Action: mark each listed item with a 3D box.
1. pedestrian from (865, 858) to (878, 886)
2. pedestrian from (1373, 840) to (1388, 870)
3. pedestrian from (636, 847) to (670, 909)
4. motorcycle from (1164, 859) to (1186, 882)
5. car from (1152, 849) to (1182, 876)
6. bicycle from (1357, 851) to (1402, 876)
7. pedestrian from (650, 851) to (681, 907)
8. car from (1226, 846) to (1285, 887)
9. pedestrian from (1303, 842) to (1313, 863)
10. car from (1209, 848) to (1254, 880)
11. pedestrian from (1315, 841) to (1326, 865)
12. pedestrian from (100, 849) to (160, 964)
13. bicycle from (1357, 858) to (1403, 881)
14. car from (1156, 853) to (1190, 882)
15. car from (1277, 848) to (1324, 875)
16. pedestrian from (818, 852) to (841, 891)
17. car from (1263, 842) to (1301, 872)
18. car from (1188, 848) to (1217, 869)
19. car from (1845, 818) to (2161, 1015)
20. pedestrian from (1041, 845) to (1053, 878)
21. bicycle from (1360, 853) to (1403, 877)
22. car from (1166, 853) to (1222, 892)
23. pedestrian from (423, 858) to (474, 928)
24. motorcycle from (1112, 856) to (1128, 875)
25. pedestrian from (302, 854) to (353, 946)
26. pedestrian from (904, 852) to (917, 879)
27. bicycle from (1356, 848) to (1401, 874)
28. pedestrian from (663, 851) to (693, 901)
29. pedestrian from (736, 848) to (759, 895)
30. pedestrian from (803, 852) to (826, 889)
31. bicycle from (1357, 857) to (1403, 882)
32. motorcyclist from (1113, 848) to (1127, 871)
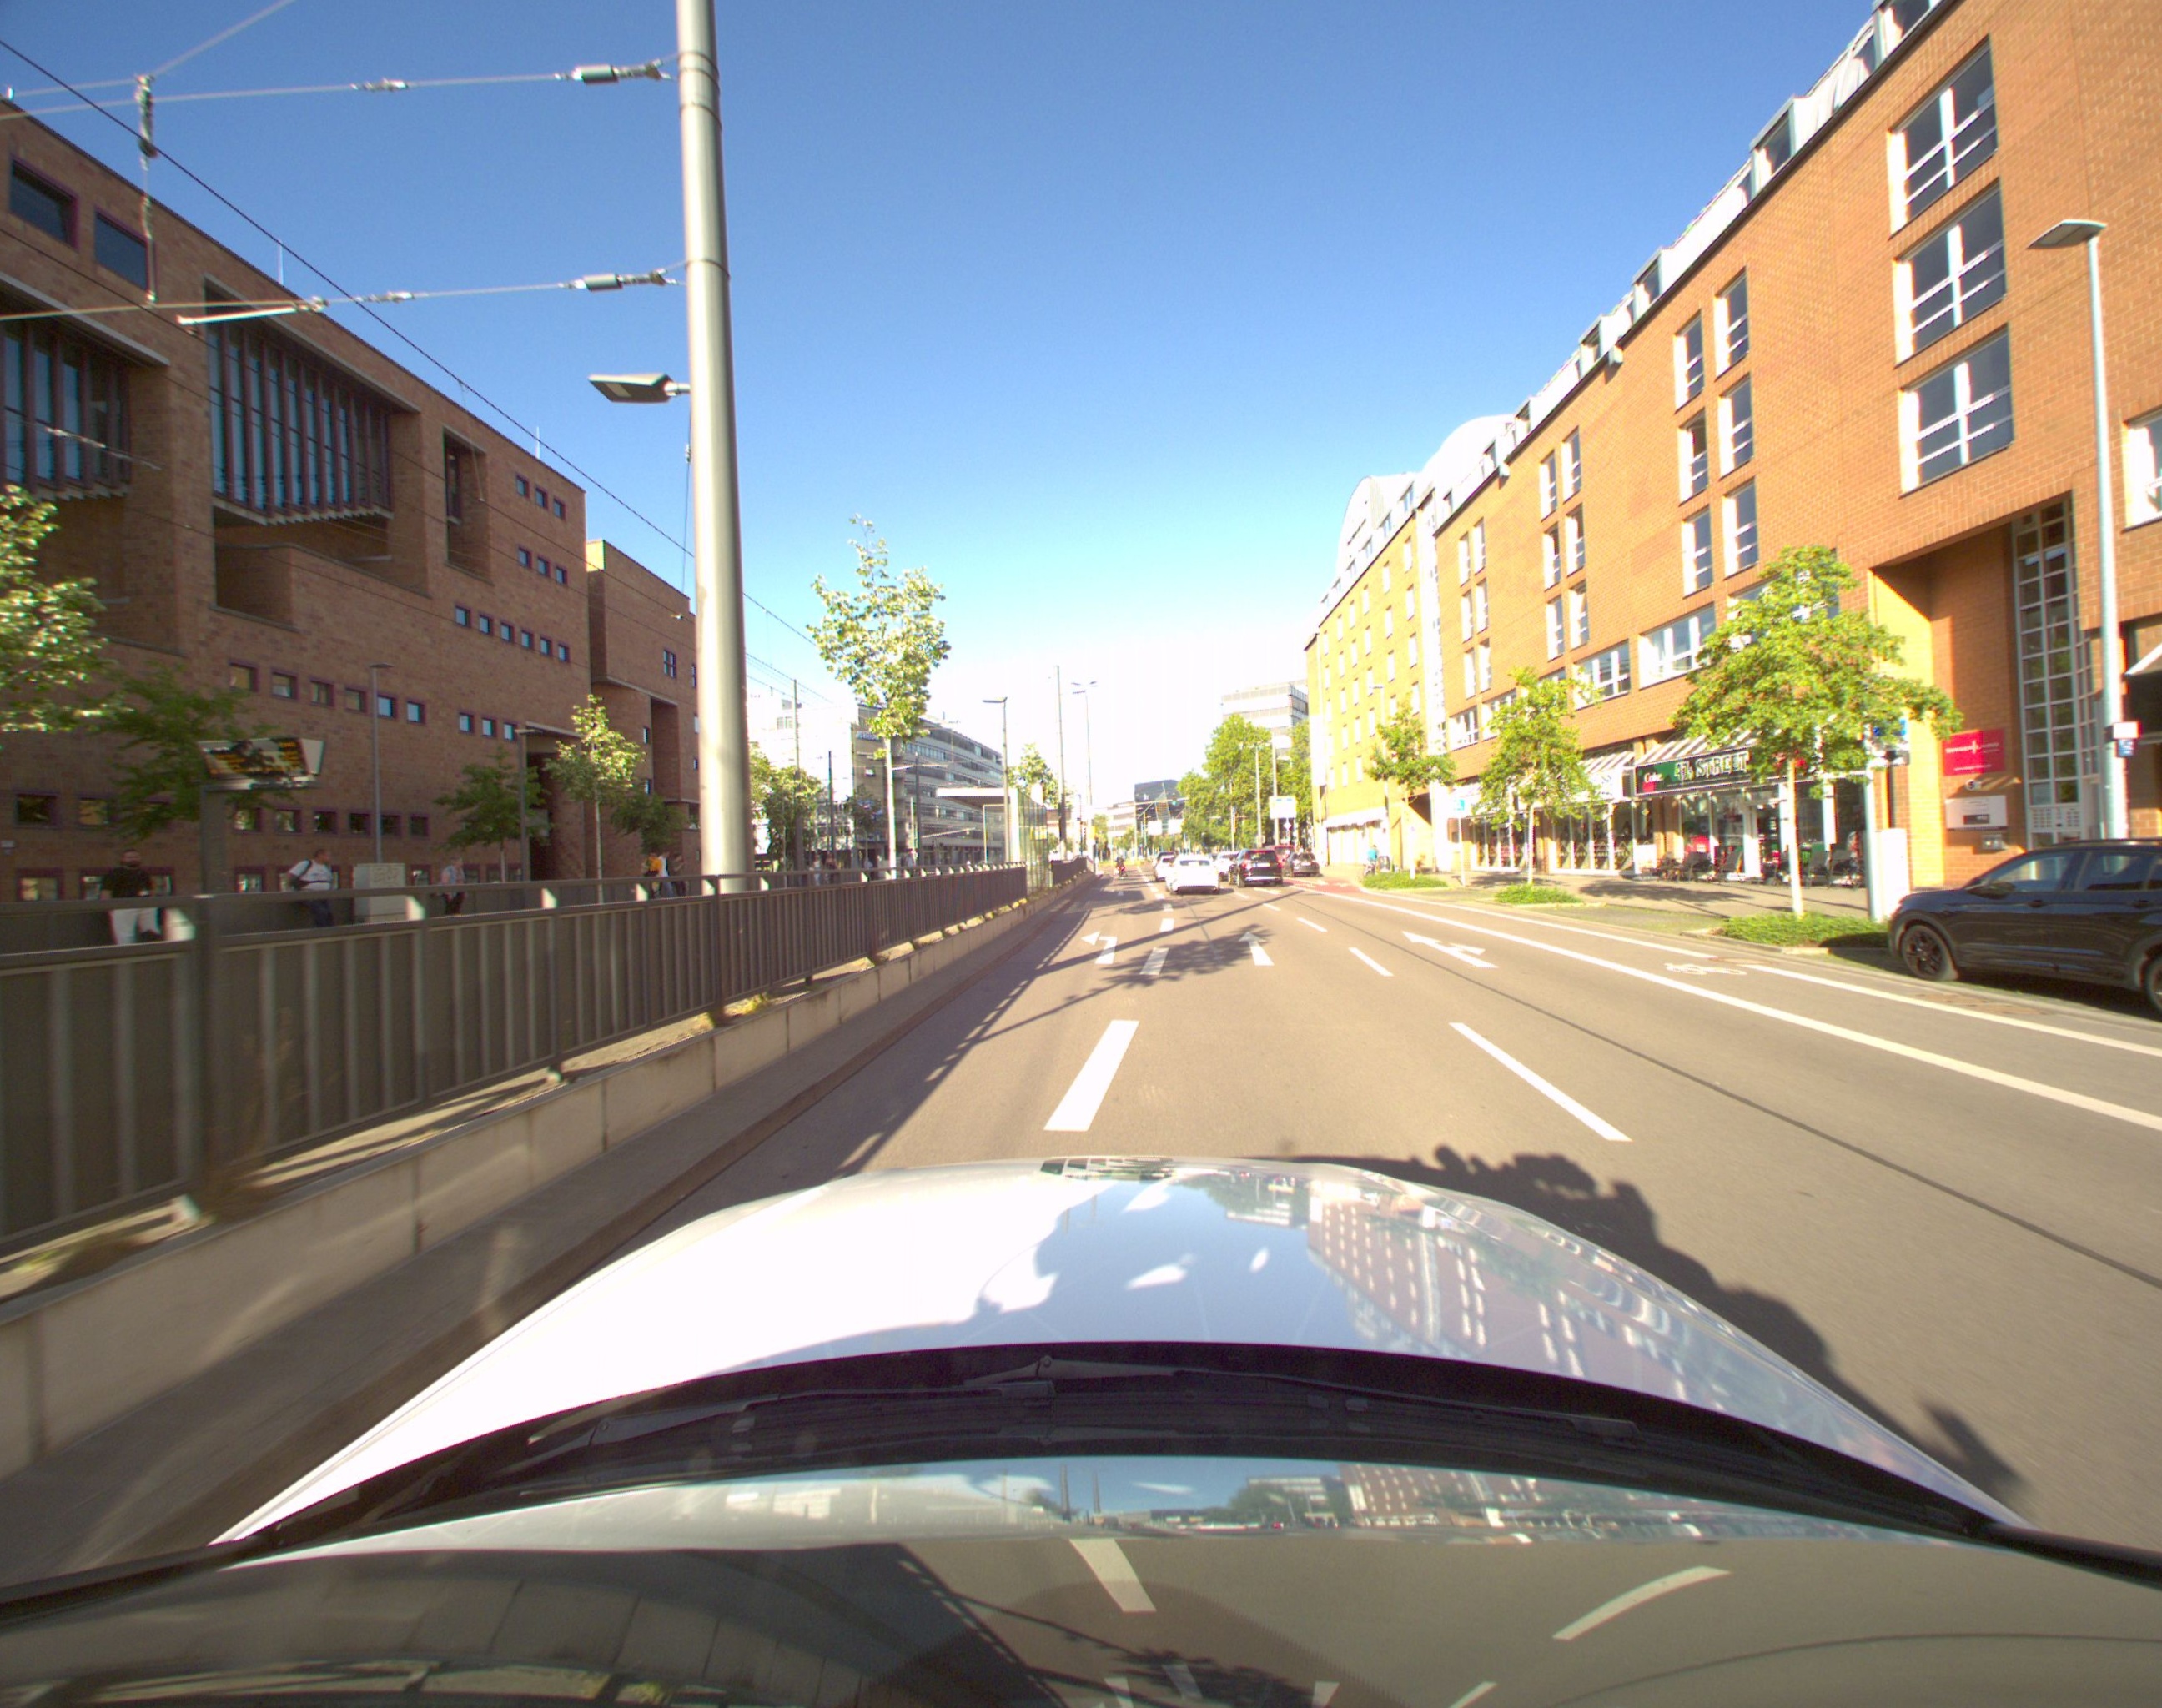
[{"bbox_3d":[-12.379,1.068,48.101,0.561,1.609,0.616,-1,0,3],"label":"pedestrian"},{"bbox_3d":[18.706,0.048,50.833,0.604,1.821,0.749,-2,-1,2],"label":"pedestrian"},{"bbox_3d":[-11.918,0.664,22.685,0.637,1.696,0.541,0,0,3],"label":"pedestrian"},{"bbox_3d":[4.665,0.815,40.637,0.834,1.062,2.554,-2,0,2],"label":"motorcycle"},{"bbox_3d":[5.776,0.544,54.989,1.790,1.705,4.066,-2,0,4],"label":"car"},{"bbox_3d":[14.172,0.444,38.681,1.931,1.075,0.556,-3,-1,14],"label":"bicycle"},{"bbox_3d":[-13.064,0.769,25.613,0.620,1.714,0.616,-1,0,3],"label":"pedestrian"},{"bbox_3d":[7.951,0.528,37.493,1.966,1.759,4.637,0,0,4],"label":"car"},{"bbox_3d":[20.000,-0.090,71.693,0.604,1.821,0.749,-2,-1,2],"label":"pedestrian"},{"bbox_3d":[8.254,0.535,44.987,1.843,1.639,4.382,-2,0,3],"label":"car"},{"bbox_3d":[18.770,-0.070,63.860,0.604,1.821,0.749,-2,-1,2],"label":"pedestrian"},{"bbox_3d":[-13.838,0.750,11.860,0.376,1.648,0.416,0,0,3],"label":"pedestrian"},{"bbox_3d":[13.929,0.740,37.978,1.928,0.969,0.557,-4,-1,20],"label":"bicycle"},{"bbox_3d":[5.129,0.722,46.003,1.685,1.497,4.413,0,0,4],"label":"car"},{"bbox_3d":[13.228,0.416,49.314,1.838,1.560,4.637,0,0,4],"label":"car"},{"bbox_3d":[-10.848,0.736,35.165,0.637,1.643,0.946,0,0,3],"label":"pedestrian"},{"bbox_3d":[13.740,0.193,55.923,1.852,1.961,4.005,-2,0,5],"label":"car"},{"bbox_3d":[9.486,0.323,63.884,1.843,1.497,4.382,-2,0,3],"label":"car"},{"bbox_3d":[10.213,0.499,8.088,1.710,1.636,4.242,-3,0,9],"label":"car"},{"bbox_3d":[-1.757,0.379,42.090,0.517,1.669,0.550,-1,0,3],"label":"pedestrian"},{"bbox_3d":[15.306,0.568,41.534,1.931,1.074,0.628,-3,-1,14],"label":"bicycle"},{"bbox_3d":[4.369,0.666,31.979,1.773,1.414,4.822,0,0,3],"label":"car"},{"bbox_3d":[-13.362,0.812,17.218,0.537,1.459,0.643,0,0,3],"label":"pedestrian"},{"bbox_3d":[2.775,0.792,57.645,1.014,1.312,2.917,0,0,4],"label":"motorcycle"},{"bbox_3d":[-13.500,0.811,14.593,0.376,1.621,0.553,0,0,3],"label":"pedestrian"},{"bbox_3d":[-11.373,0.760,54.407,0.611,1.817,0.897,-1,0,3],"label":"pedestrian"},{"bbox_3d":[14.302,0.335,39.197,1.931,1.137,0.492,-3,-1,14],"label":"bicycle"},{"bbox_3d":[-13.098,0.715,26.497,0.620,1.612,0.616,-1,0,3],"label":"pedestrian"},{"bbox_3d":[-12.675,0.664,30.944,0.579,1.738,0.616,-1,0,3],"label":"pedestrian"},{"bbox_3d":[-11.496,0.700,35.195,0.637,1.608,0.946,0,0,3],"label":"pedestrian"},{"bbox_3d":[13.737,0.718,37.471,1.928,1.022,0.504,-4,-1,20],"label":"bicycle"},{"bbox_3d":[2.770,0.409,57.695,1.014,1.603,1.149,0,0,3],"label":"motorcyclist"}]
